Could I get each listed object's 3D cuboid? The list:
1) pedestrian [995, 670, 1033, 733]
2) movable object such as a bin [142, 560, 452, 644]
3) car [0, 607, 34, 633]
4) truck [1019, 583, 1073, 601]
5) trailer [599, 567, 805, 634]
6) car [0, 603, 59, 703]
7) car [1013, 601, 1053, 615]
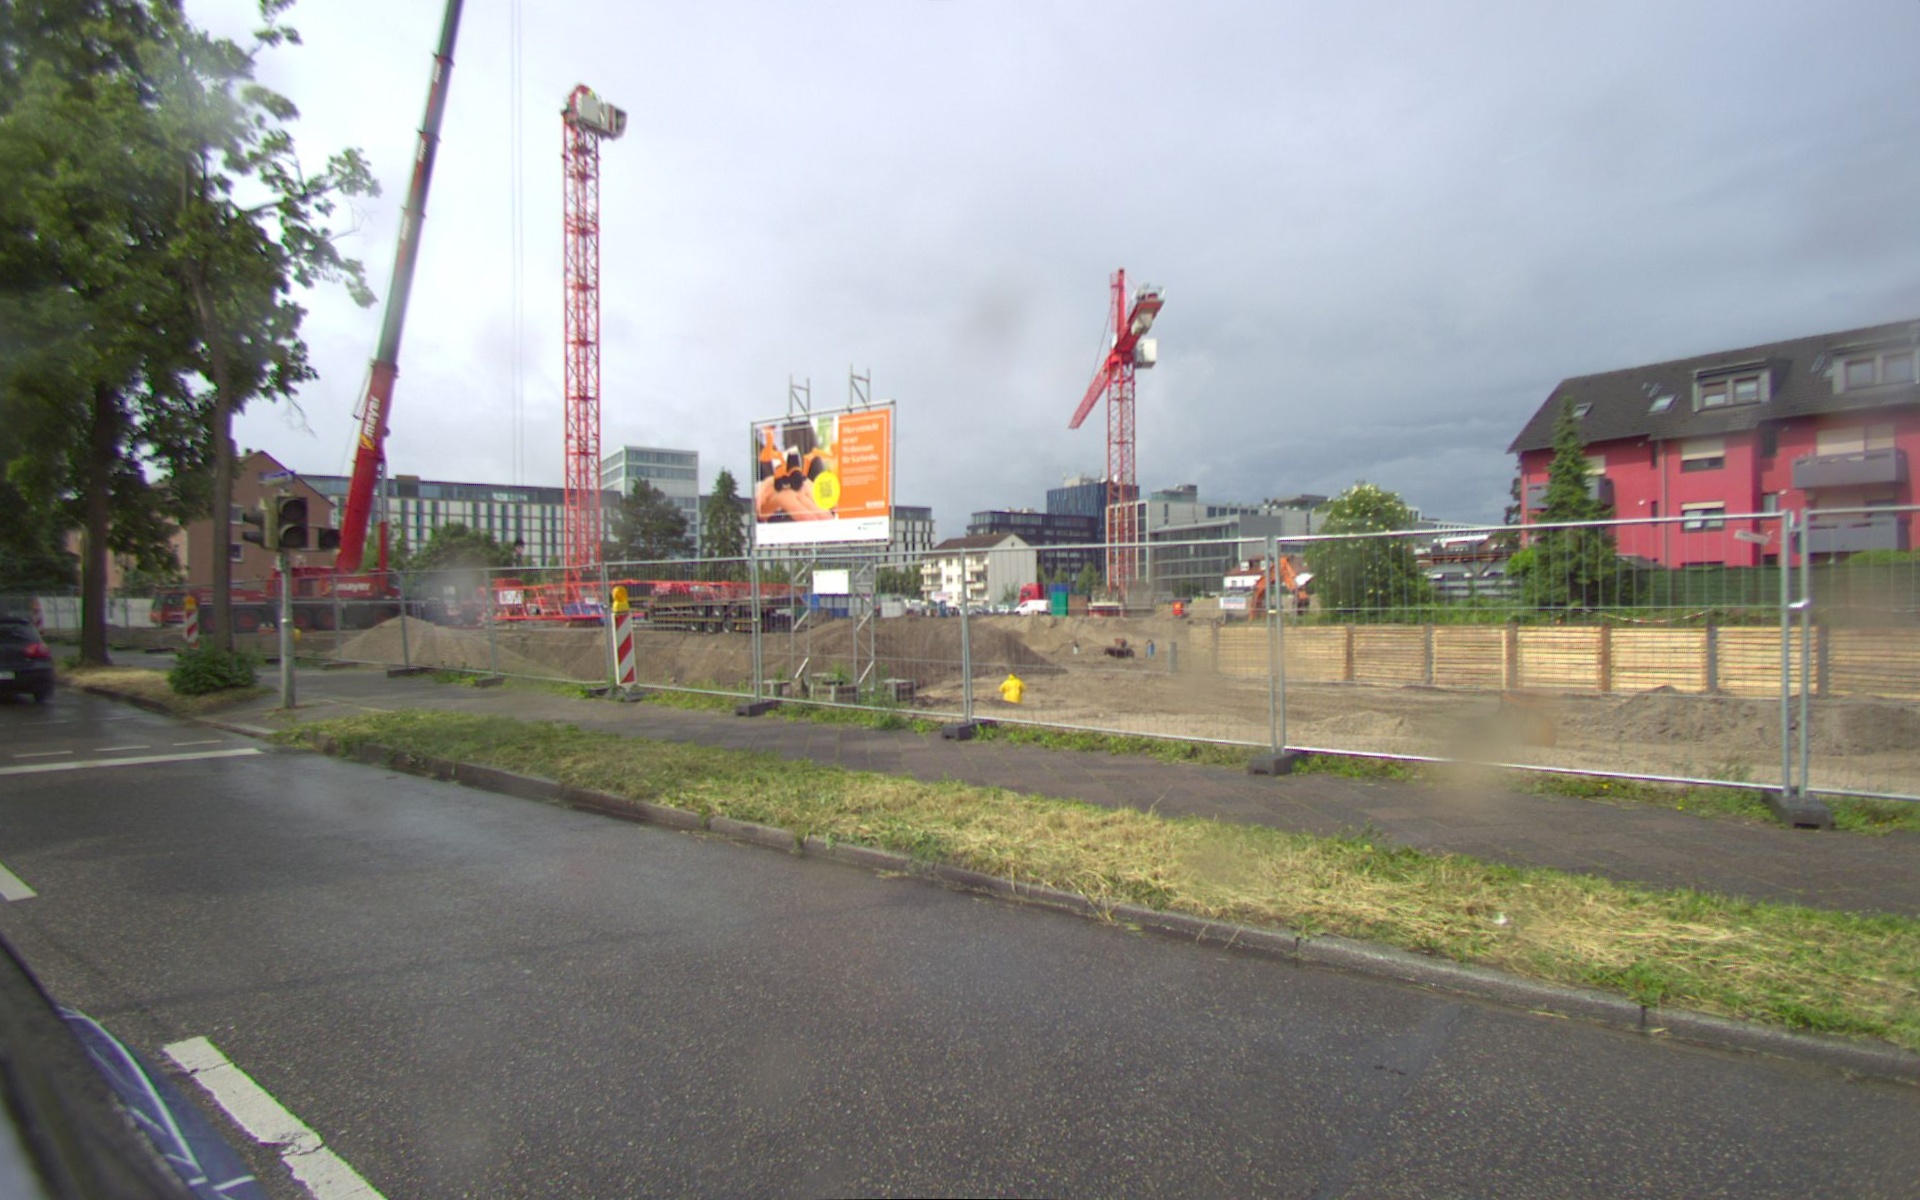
[{"bbox_3d":[1.516,2.836,28.454,0.849,1.698,0.580,-1,-3,44],"label":"pedestrian"},{"bbox_3d":[-40.389,-0.137,62.780,3.100,4.592,15.741,0,2,41],"label":"movable object such as a bin"},{"bbox_3d":[-61.898,1.262,65.857,3.992,1.541,1.674,0,2,36],"label":"car"},{"bbox_3d":[10.510,-1.023,123.878,6.285,2.095,1.886,0,2,22],"label":"truck"},{"bbox_3d":[-14.727,-0.022,56.537,14.290,3.256,2.933,0,4,38],"label":"trailer"},{"bbox_3d":[-17.196,0.872,17.498,3.997,1.620,1.822,-1,-2,40],"label":"car"},{"bbox_3d":[8.565,0.874,118.667,4.579,1.529,1.798,0,2,41],"label":"car"}]
